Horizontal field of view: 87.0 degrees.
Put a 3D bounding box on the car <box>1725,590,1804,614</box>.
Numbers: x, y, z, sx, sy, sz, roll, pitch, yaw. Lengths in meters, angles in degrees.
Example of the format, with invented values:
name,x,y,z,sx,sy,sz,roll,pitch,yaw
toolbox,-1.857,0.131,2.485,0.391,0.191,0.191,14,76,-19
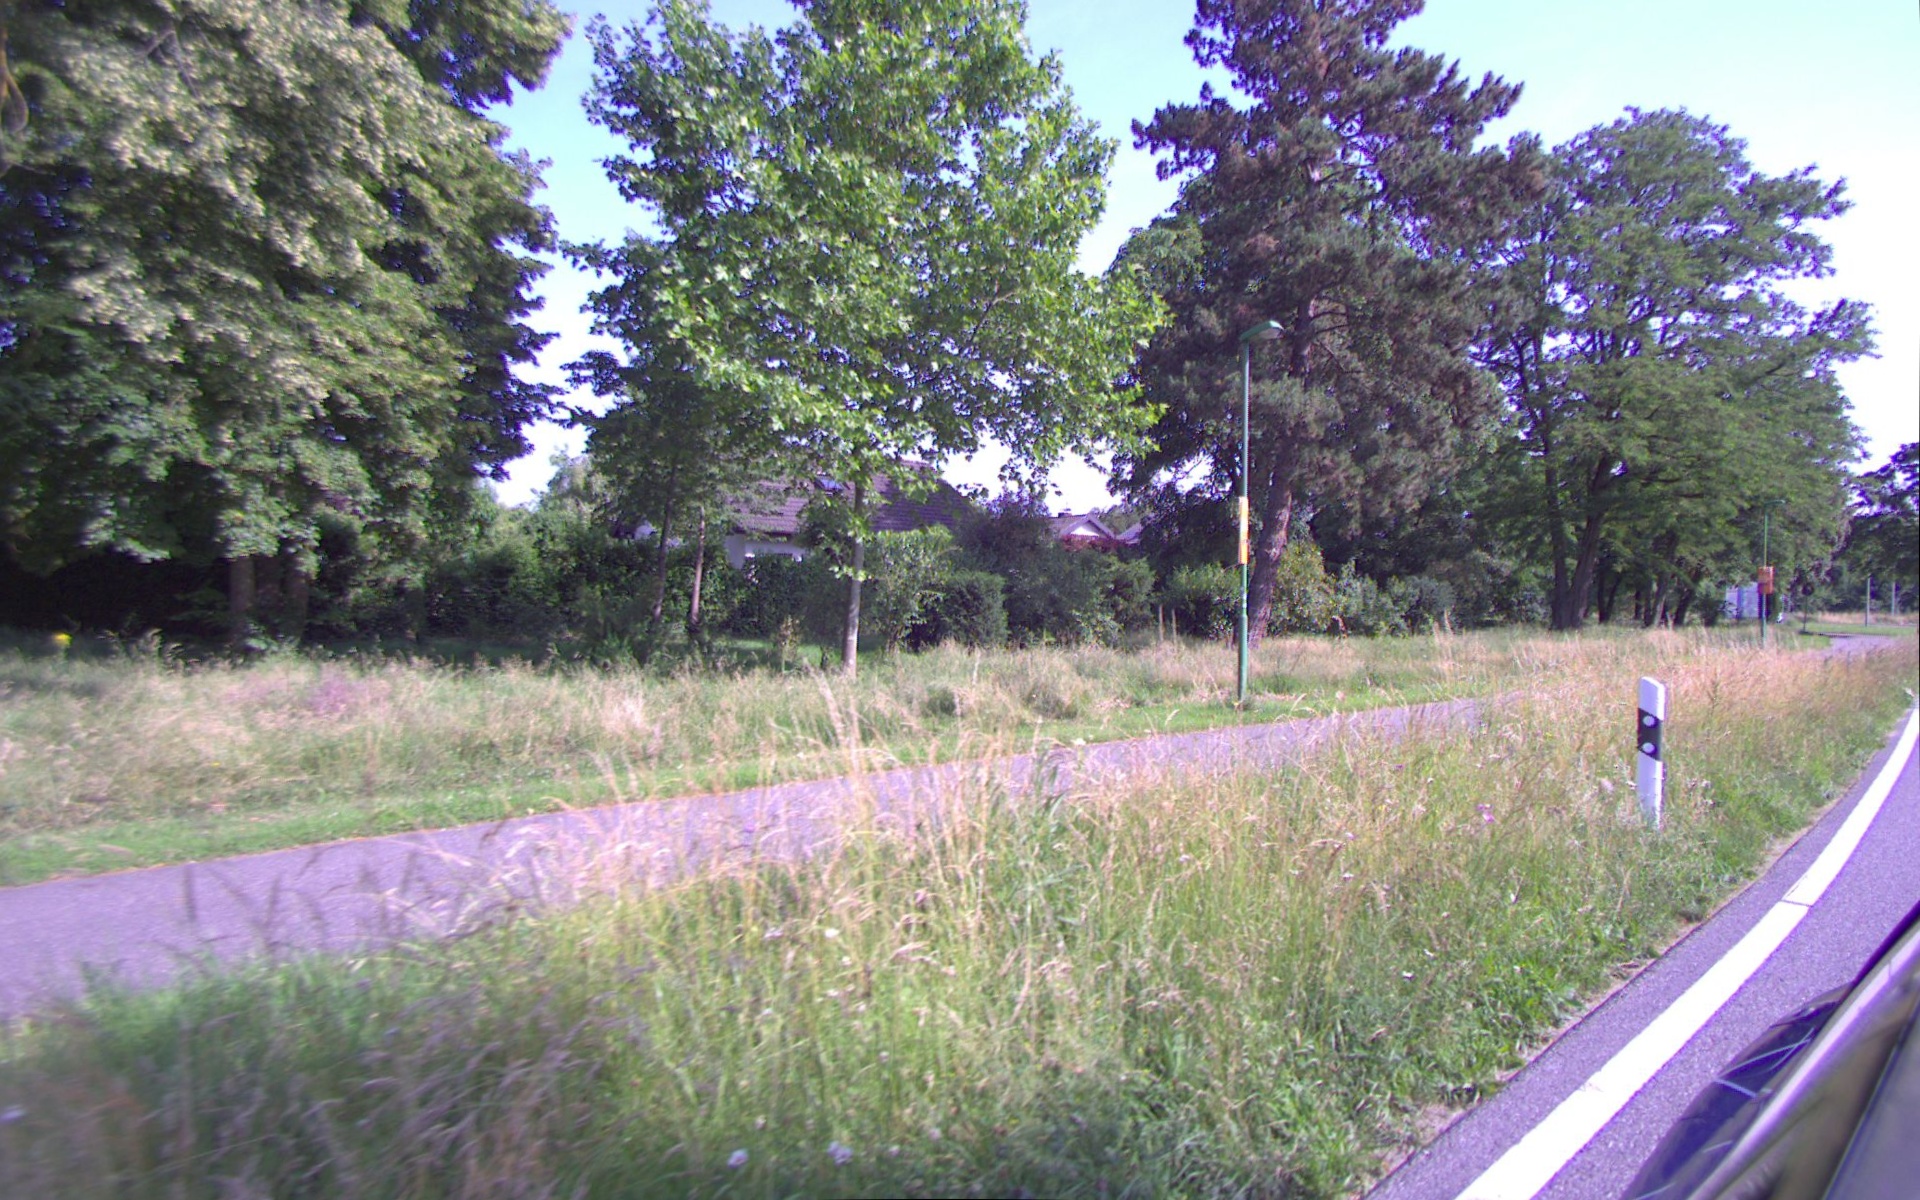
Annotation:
name,x,y,z,sx,sy,sz,roll,pitch,yaw
car,56.836,0.132,71.533,1.962,1.504,4.000,0,2,-36
